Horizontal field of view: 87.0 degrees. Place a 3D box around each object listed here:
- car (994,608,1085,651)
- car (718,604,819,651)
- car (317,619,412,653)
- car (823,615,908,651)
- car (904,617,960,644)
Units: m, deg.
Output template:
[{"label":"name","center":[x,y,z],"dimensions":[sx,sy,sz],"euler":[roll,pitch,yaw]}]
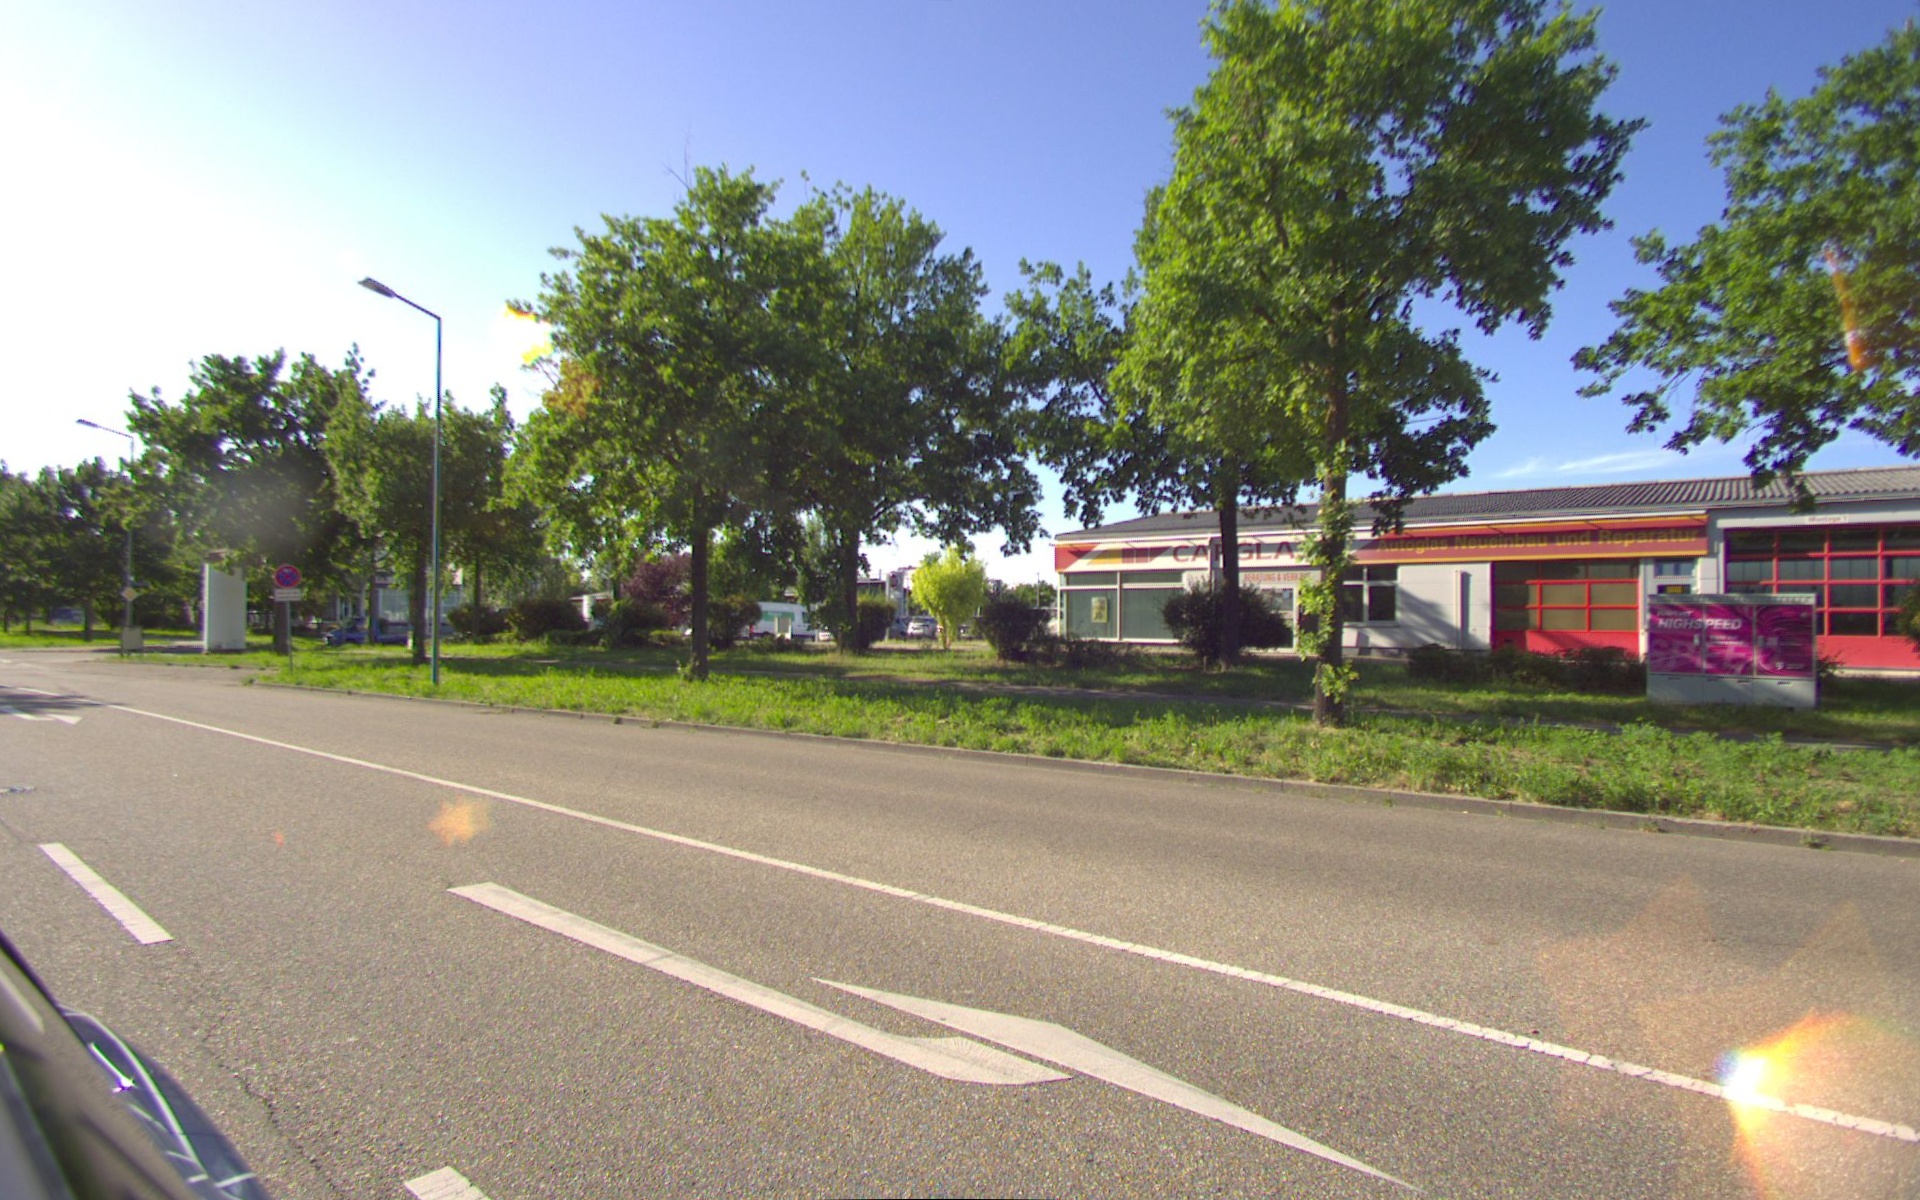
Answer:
[{"label":"car","center":[3.212,1.154,40.603],"dimensions":[1.734,1.583,3.769],"euler":[-3,-1,40]},{"label":"car","center":[-11.455,1.597,60.998],"dimensions":[2.406,2.574,5.952],"euler":[-1,0,36]},{"label":"car","center":[-35.973,2.155,61.230],"dimensions":[1.999,1.847,4.578],"euler":[-1,0,41]},{"label":"car","center":[-5.148,1.766,55.787],"dimensions":[1.989,1.795,4.583],"euler":[-1,0,40]},{"label":"car","center":[-1.874,2.049,68.621],"dimensions":[1.761,1.684,3.811],"euler":[-1,0,40]}]
